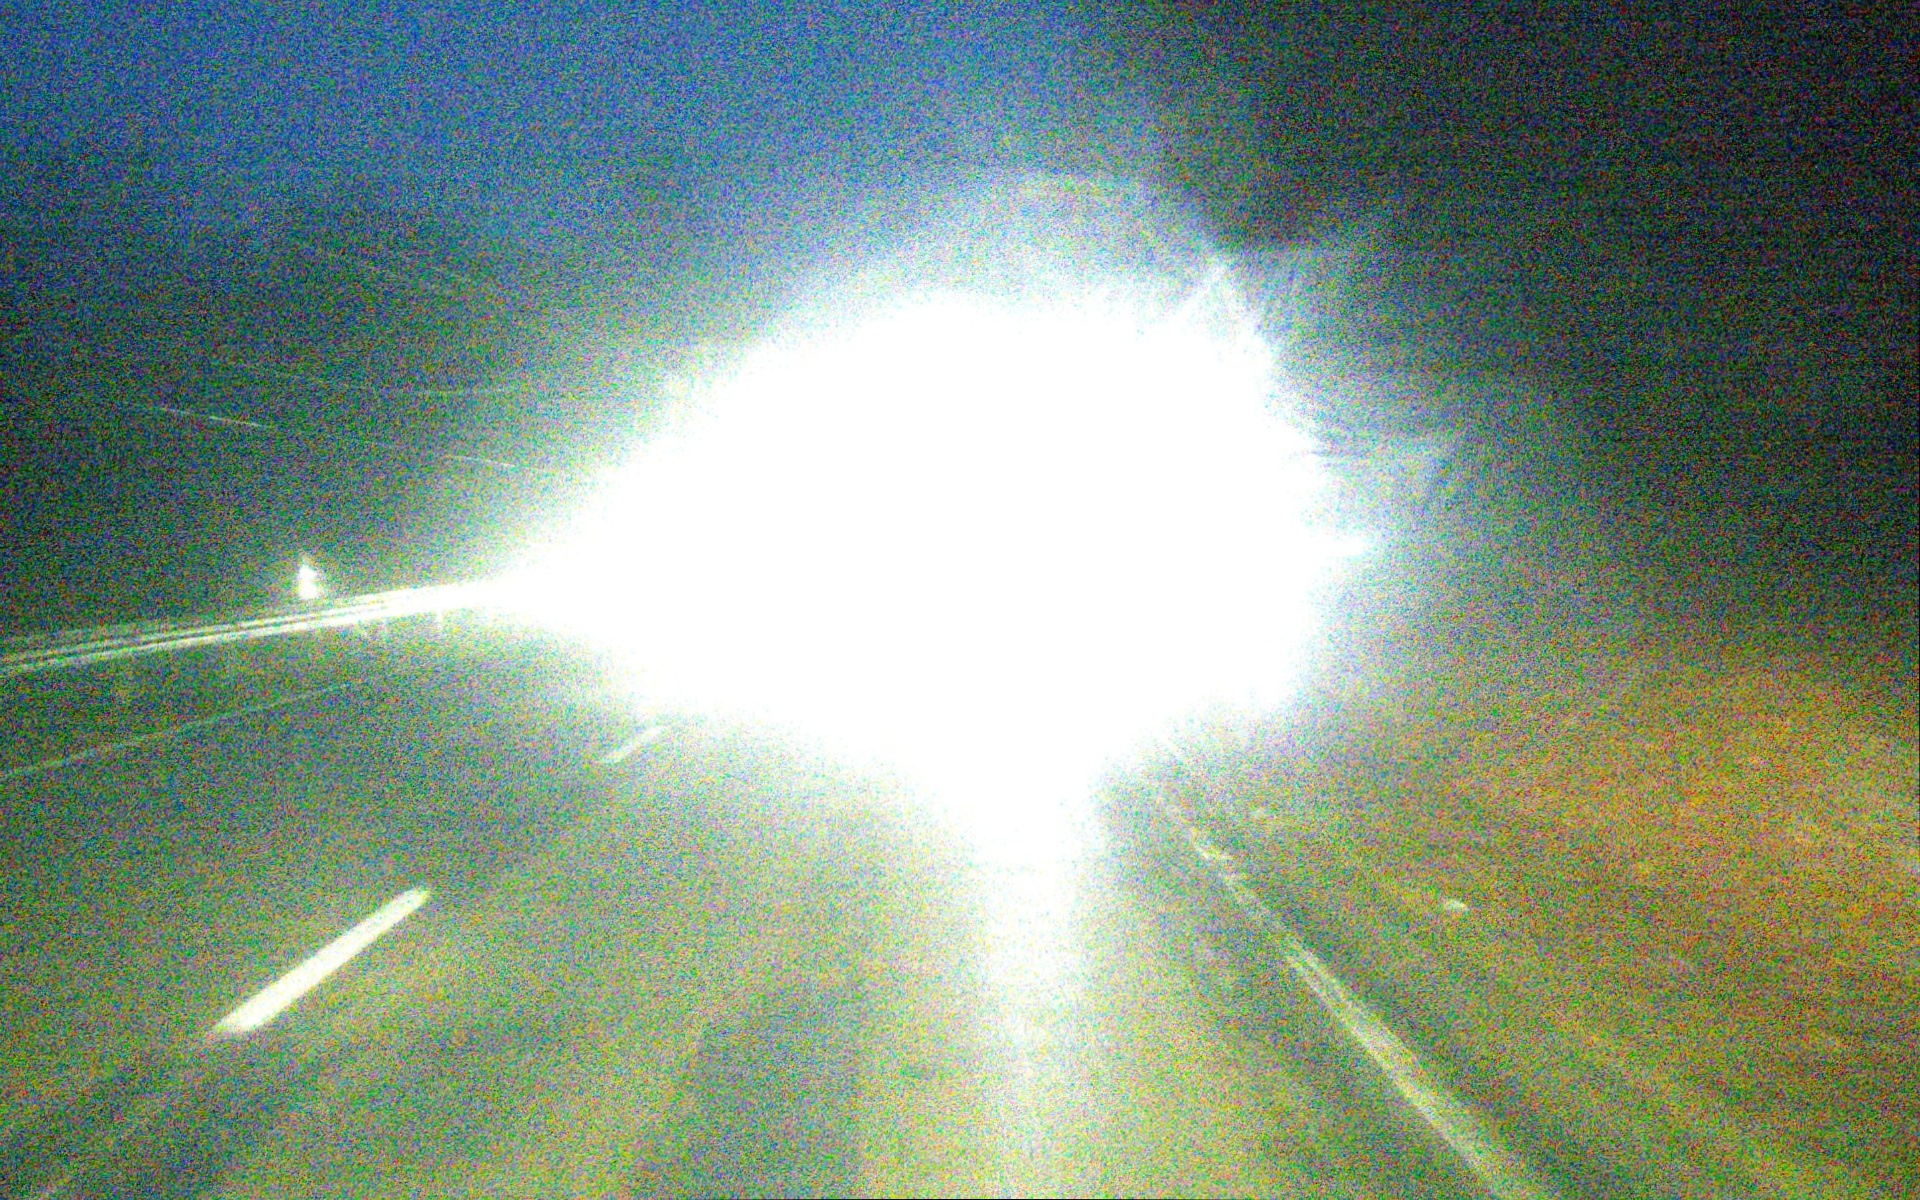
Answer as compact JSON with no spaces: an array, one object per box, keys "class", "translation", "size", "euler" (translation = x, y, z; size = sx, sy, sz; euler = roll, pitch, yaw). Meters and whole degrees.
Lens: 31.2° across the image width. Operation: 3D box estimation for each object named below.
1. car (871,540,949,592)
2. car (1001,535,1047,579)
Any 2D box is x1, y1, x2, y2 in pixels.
[{"class":"car","translation":[-1.359,-0.951,95.053],"size":[1.993,1.386,3.846],"euler":[1,1,2]},{"class":"car","translation":[2.841,-1.901,151.275],"size":[1.855,1.933,4.000],"euler":[0,1,3]}]
